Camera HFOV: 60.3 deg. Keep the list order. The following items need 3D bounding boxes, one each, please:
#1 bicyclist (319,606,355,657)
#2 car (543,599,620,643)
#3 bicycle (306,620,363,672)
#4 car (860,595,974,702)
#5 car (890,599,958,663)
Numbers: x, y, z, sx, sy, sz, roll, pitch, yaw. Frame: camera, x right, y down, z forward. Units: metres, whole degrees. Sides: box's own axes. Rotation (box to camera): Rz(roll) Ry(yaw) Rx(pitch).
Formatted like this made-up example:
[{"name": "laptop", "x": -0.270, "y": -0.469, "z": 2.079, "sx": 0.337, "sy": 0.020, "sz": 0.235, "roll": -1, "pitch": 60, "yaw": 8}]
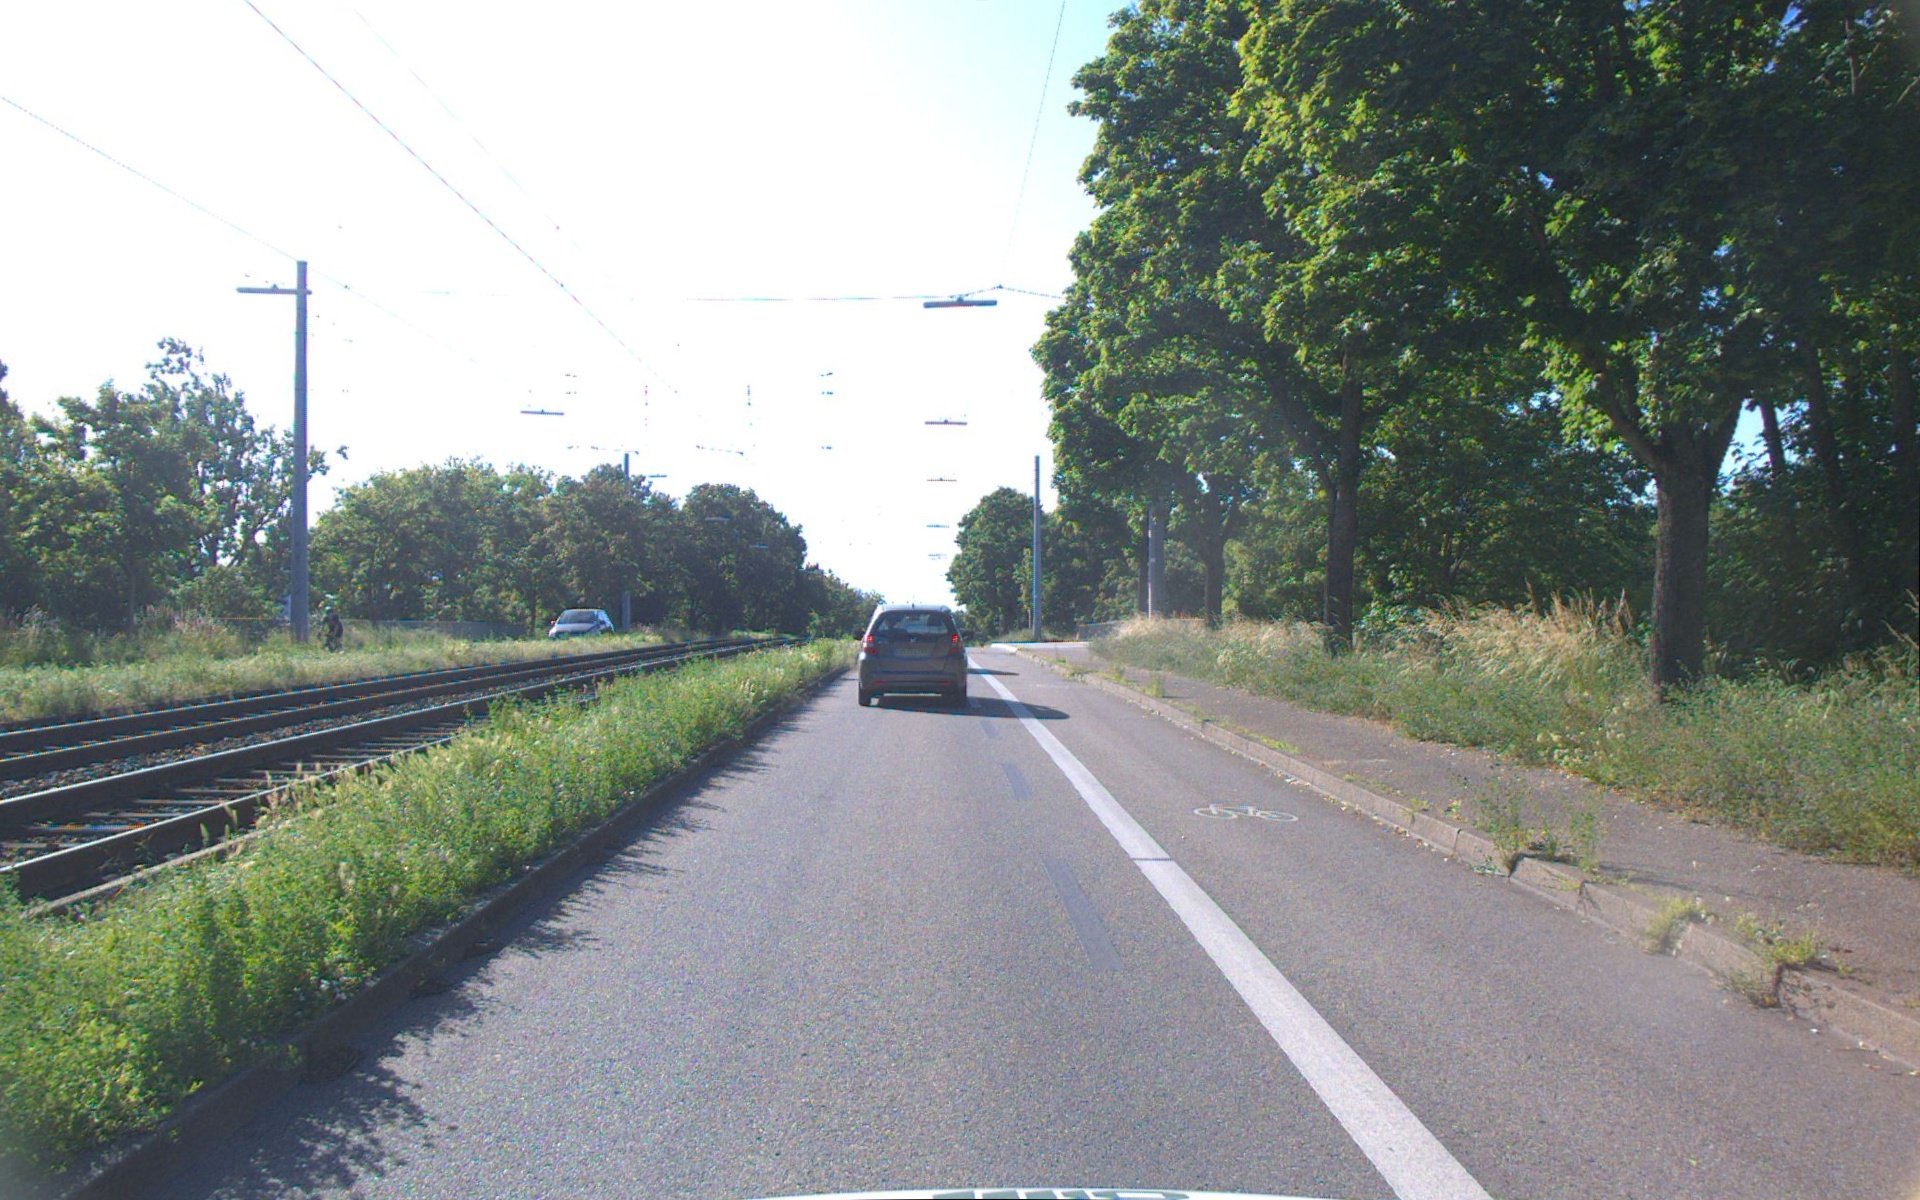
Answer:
[{"name": "bicyclist", "x": -16.592, "y": 0.828, "z": 44.051, "sx": 0.570, "sy": 1.333, "sz": 0.987, "roll": 1, "pitch": 0, "yaw": -1}, {"name": "car", "x": -13.856, "y": 0.732, "z": 60.744, "sx": 1.772, "sy": 1.515, "sz": 4.406, "roll": 1, "pitch": 0, "yaw": 0}, {"name": "bicycle", "x": -16.613, "y": 1.199, "z": 43.988, "sx": 0.578, "sy": 1.283, "sz": 2.427, "roll": 1, "pitch": 0, "yaw": -1}, {"name": "car", "x": -0.641, "y": 0.703, "z": 26.082, "sx": 1.636, "sy": 1.534, "sz": 3.810, "roll": 1, "pitch": 0, "yaw": -1}, {"name": "car", "x": -0.893, "y": 0.757, "z": 42.309, "sx": 1.621, "sy": 1.534, "sz": 3.810, "roll": 1, "pitch": 0, "yaw": -1}]
